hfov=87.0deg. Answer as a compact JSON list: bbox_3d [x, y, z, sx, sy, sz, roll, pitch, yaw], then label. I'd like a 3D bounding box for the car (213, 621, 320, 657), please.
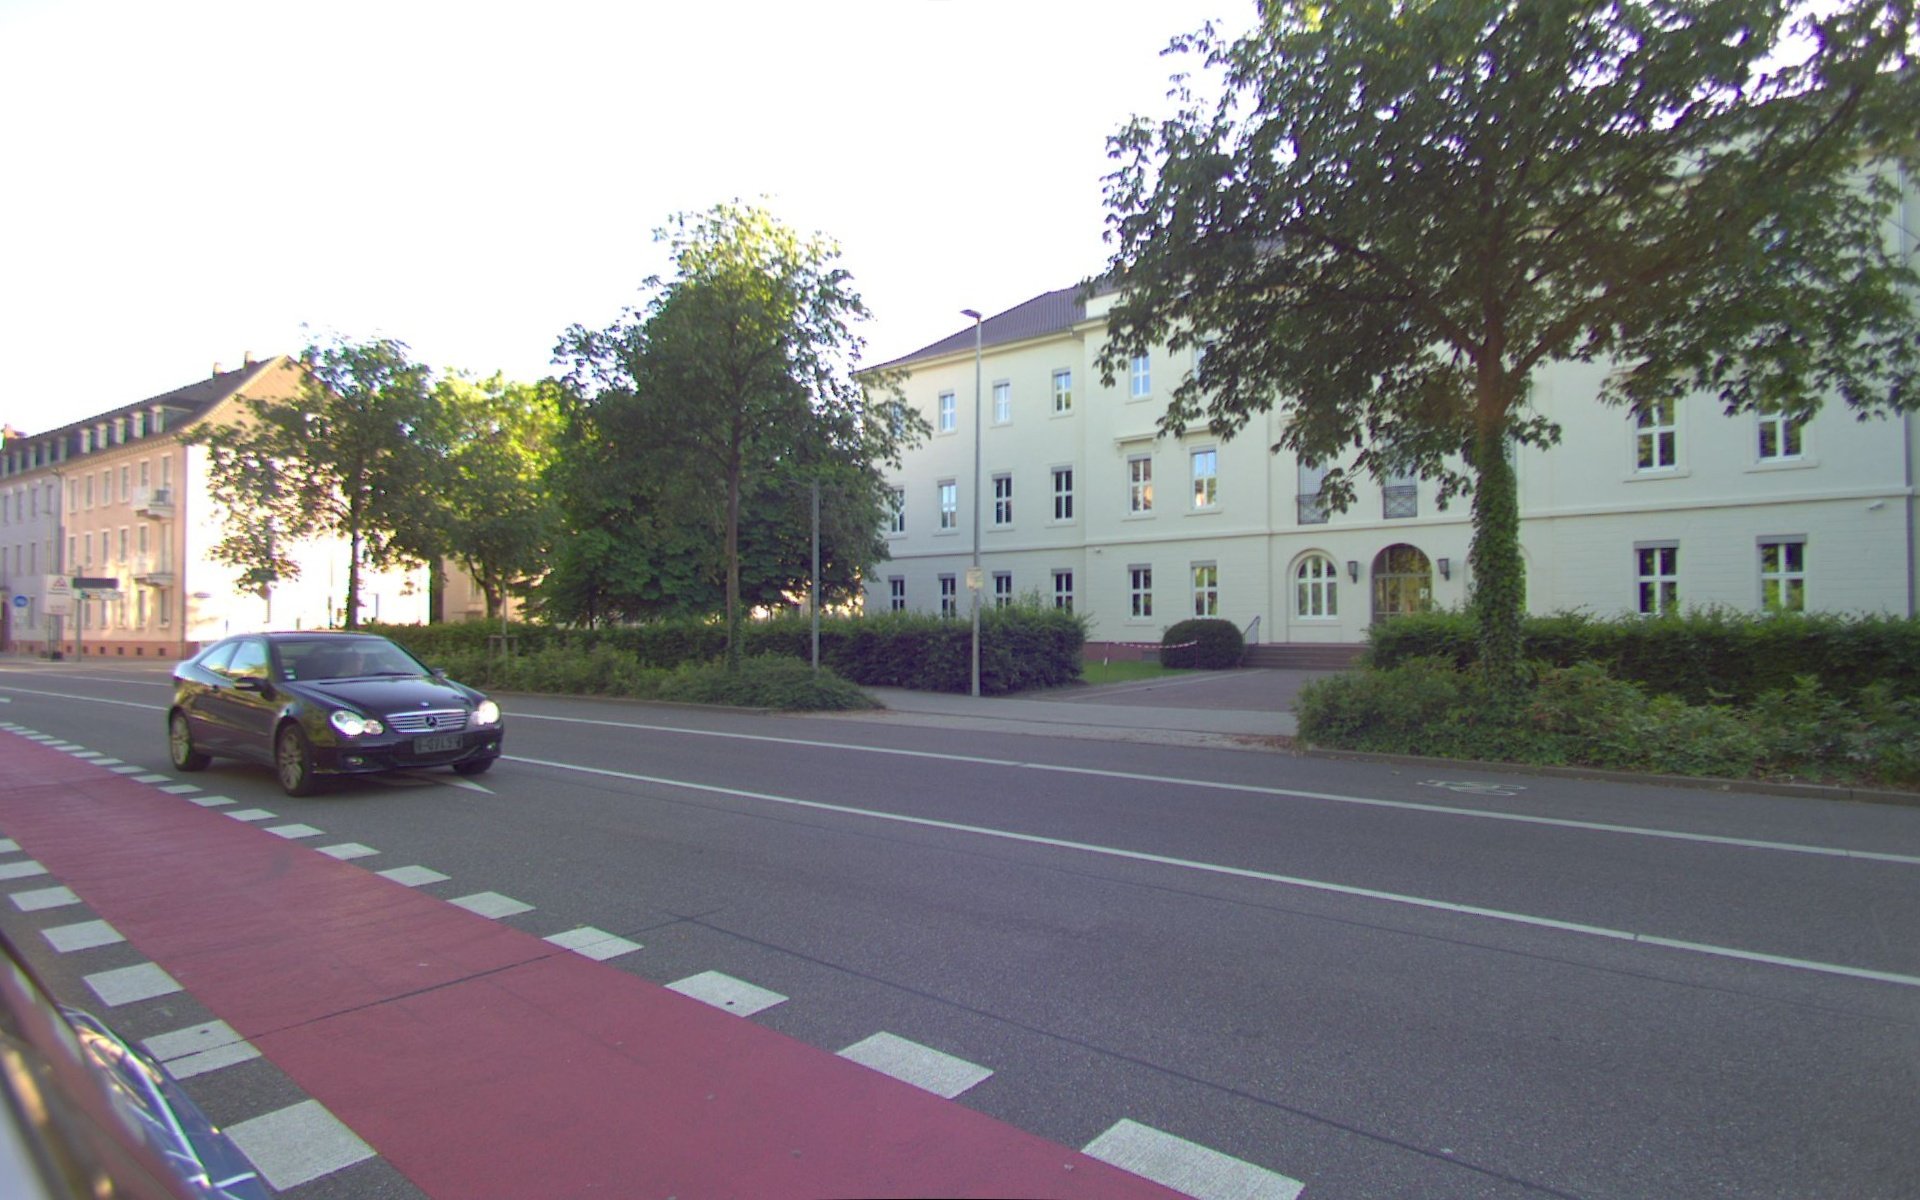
[{"bbox_3d":[-34.556,1.891,50.491,1.993,1.674,3.958,-1,-1,31],"label":"car"}]

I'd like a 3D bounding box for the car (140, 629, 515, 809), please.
[{"bbox_3d":[-6.327,1.011,9.952,4.257,1.416,1.689,-1,-3,37],"label":"car"}]
